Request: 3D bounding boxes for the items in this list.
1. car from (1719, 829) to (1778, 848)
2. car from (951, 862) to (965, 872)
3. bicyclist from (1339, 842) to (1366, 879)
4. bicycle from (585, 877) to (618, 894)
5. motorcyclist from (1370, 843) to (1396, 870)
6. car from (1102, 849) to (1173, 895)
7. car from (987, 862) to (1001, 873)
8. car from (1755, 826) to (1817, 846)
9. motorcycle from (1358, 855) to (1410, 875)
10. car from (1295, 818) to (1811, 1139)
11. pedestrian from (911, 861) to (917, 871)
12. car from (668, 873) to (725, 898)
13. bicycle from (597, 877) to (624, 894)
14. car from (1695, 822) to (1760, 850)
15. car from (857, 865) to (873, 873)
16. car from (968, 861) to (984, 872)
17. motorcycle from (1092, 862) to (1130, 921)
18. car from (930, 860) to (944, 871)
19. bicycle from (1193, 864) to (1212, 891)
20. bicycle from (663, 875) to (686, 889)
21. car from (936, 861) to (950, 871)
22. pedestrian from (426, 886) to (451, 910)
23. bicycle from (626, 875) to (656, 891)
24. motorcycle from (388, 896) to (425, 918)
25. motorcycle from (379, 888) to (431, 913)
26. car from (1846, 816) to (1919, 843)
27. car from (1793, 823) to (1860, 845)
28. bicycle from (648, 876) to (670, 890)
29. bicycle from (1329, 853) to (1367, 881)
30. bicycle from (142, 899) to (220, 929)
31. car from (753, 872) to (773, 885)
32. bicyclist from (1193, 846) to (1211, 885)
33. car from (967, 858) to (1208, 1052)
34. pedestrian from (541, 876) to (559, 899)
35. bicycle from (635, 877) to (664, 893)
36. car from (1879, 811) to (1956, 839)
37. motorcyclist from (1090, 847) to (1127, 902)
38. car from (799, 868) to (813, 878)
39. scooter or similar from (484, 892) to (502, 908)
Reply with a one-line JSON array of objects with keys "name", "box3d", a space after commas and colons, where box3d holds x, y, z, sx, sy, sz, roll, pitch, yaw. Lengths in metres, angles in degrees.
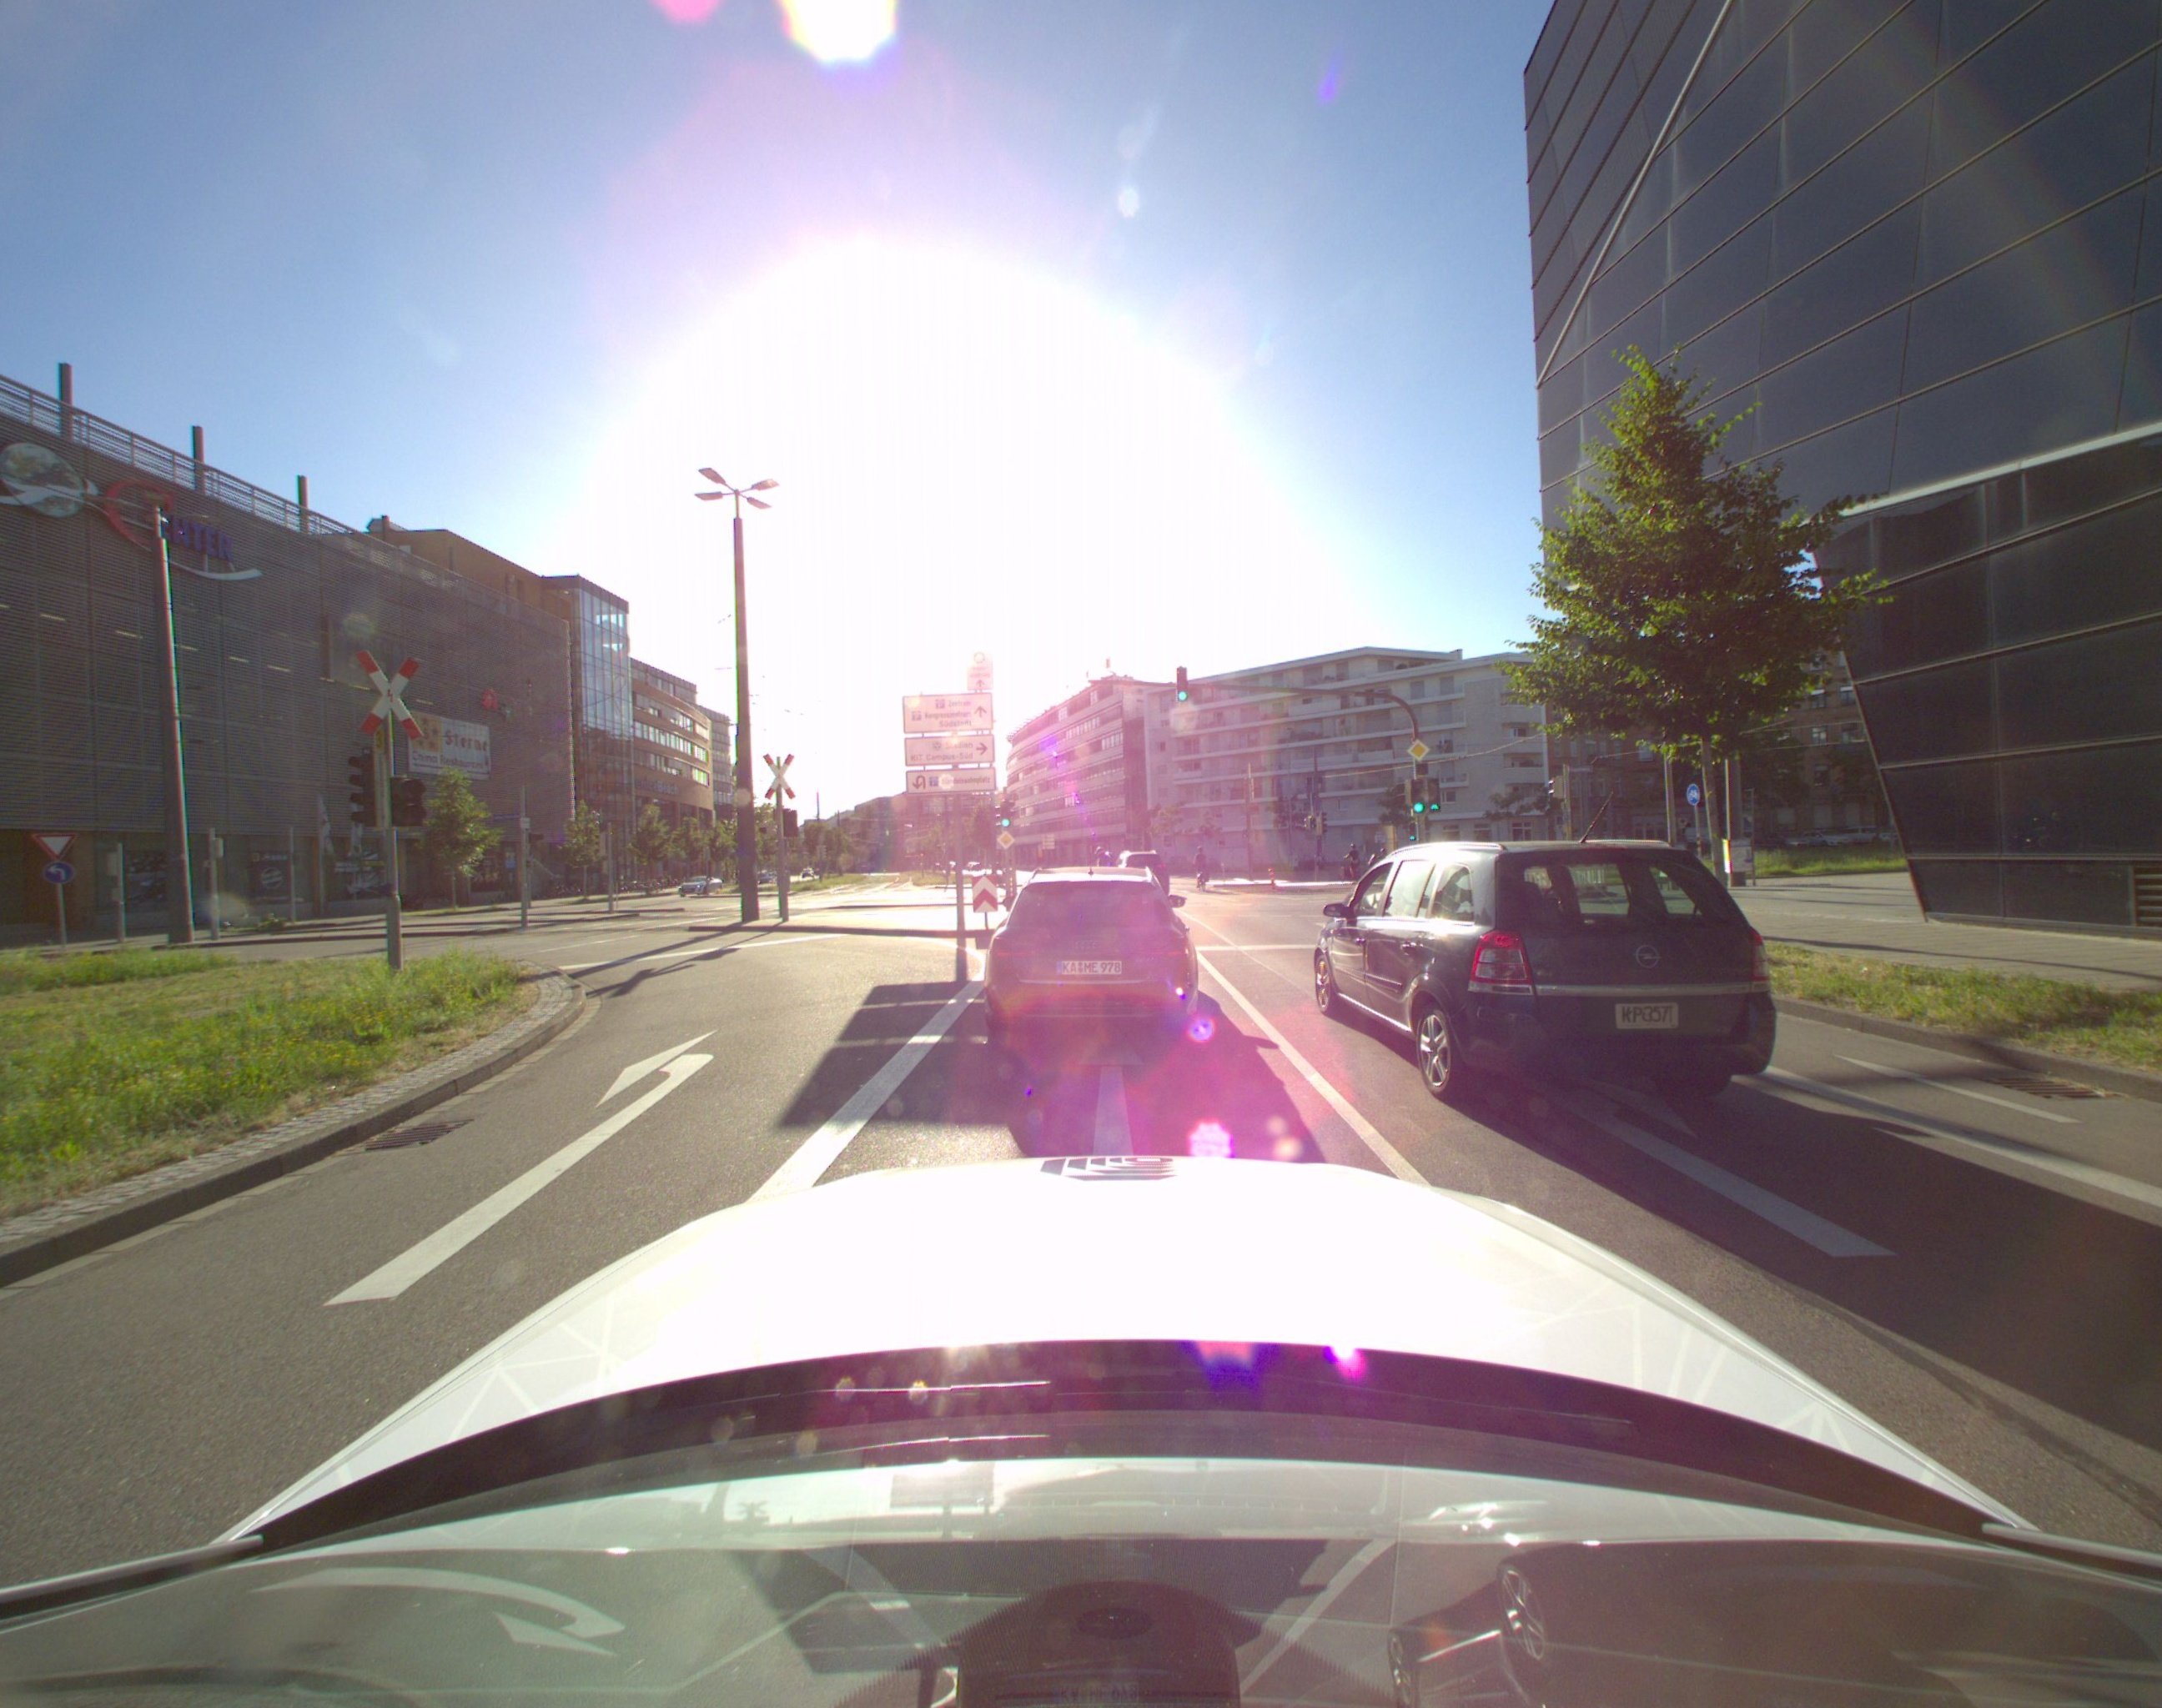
[{"name": "car", "box3d": [54.075, -1.236, 66.091, 1.981, 1.354, 4.012, -3, -1, 11]}, {"name": "car", "box3d": [-21.012, 2.181, 138.620, 1.996, 1.596, 3.981, -3, -1, -14]}, {"name": "bicyclist", "box3d": [12.689, 0.306, 38.070, 0.766, 1.706, 0.927, -2, -1, -11]}, {"name": "bicycle", "box3d": [-44.007, 2.860, 74.741, 2.355, 1.433, 1.079, -3, -1, 10]}, {"name": "motorcyclist", "box3d": [16.897, 0.137, 45.575, 0.924, 1.481, 1.169, -2, -1, -6]}, {"name": "car", "box3d": [2.216, 0.660, 32.987, 2.002, 1.715, 4.360, -1, 0, -8]}, {"name": "car", "box3d": [-15.871, 2.475, 148.040, 1.996, 1.838, 3.981, -3, -1, -14]}, {"name": "car", "box3d": [56.282, -1.398, 65.103, 1.981, 1.354, 4.012, -3, -1, 11]}, {"name": "motorcycle", "box3d": [16.963, 0.620, 45.573, 2.450, 1.000, 1.169, -2, -1, -7]}, {"name": "car", "box3d": [3.055, 0.672, 6.452, 1.739, 1.696, 4.262, 0, 0, 2]}, {"name": "pedestrian", "box3d": [-31.279, 2.243, 152.619, 0.904, 1.824, 0.825, -3, -2, -16]}, {"name": "car", "box3d": [-27.993, 2.279, 59.431, 1.987, 1.545, 4.529, -2, 0, 0]}, {"name": "bicycle", "box3d": [-43.806, 2.960, 75.809, 2.070, 1.433, 0.863, -3, -1, 10]}, {"name": "car", "box3d": [58.786, -1.586, 74.147, 4.543, 2.310, 2.013, -3, -1, 38]}, {"name": "car", "box3d": [-49.591, 3.364, 186.943, 1.982, 1.640, 4.422, -2, -1, 8]}, {"name": "car", "box3d": [-17.579, 2.115, 136.115, 1.999, 1.596, 3.976, -3, -1, -17]}, {"name": "motorcycle", "box3d": [0.736, 0.911, 20.514, 0.859, 1.393, 1.894, -2, -1, 1]}, {"name": "car", "box3d": [-25.433, 2.035, 143.660, 1.998, 1.706, 3.977, -3, -1, -17]}, {"name": "bicycle", "box3d": [5.259, 1.007, 35.421, 0.651, 1.043, 1.932, -2, 0, 5]}, {"name": "bicycle", "box3d": [-47.425, 3.278, 95.049, 2.405, 1.433, 0.791, -3, -1, 10]}, {"name": "car", "box3d": [-24.376, 2.122, 144.030, 1.998, 1.706, 3.977, -3, -1, -17]}, {"name": "pedestrian", "box3d": [-44.591, 3.064, 56.531, 0.984, 1.566, 0.829, -3, -2, 1]}, {"name": "bicycle", "box3d": [-43.603, 2.872, 80.703, 2.546, 1.433, 0.907, -3, -1, 10]}, {"name": "motorcycle", "box3d": [-41.885, 3.308, 50.576, 0.673, 1.238, 1.893, -3, -1, 1]}, {"name": "motorcycle", "box3d": [-43.365, 2.981, 52.301, 0.962, 1.446, 2.619, -2, 0, 5]}, {"name": "car", "box3d": [61.004, -1.823, 62.099, 1.981, 1.772, 4.012, -3, -1, 11]}, {"name": "car", "box3d": [58.395, -1.549, 63.901, 1.981, 1.486, 4.012, -3, -1, 11]}, {"name": "bicycle", "box3d": [-47.551, 3.234, 91.752, 2.231, 1.433, 0.720, -3, -1, 10]}, {"name": "bicycle", "box3d": [12.616, 0.623, 38.493, 0.766, 1.262, 2.074, -2, -1, -11]}, {"name": "bicycle", "box3d": [-41.932, 2.788, 37.996, 0.796, 1.220, 2.418, -2, 0, 5]}, {"name": "car", "box3d": [-39.470, 3.037, 101.031, 1.904, 1.407, 3.965, -3, 0, -27]}, {"name": "bicyclist", "box3d": [5.245, 0.481, 35.424, 0.651, 1.642, 0.973, -2, 0, 5]}, {"name": "car", "box3d": [0.095, 0.784, 8.246, 1.835, 1.454, 4.001, -1, 0, 1]}, {"name": "pedestrian", "box3d": [-42.786, 2.704, 65.627, 0.823, 1.824, 0.905, -3, -2, 3]}, {"name": "bicycle", "box3d": [-43.932, 3.155, 82.956, 2.546, 1.433, 0.907, -3, -1, 10]}, {"name": "car", "box3d": [63.496, -2.168, 61.912, 1.982, 1.772, 4.009, -3, -1, 8]}, {"name": "motorcyclist", "box3d": [0.674, 0.501, 20.408, 0.860, 1.326, 0.681, -2, -1, 0]}, {"name": "car", "box3d": [-49.060, 3.348, 145.450, 1.997, 1.640, 4.388, -2, -1, -15]}, {"name": "scooter or similar", "box3d": [-43.005, 3.391, 59.548, 0.419, 1.110, 1.152, -3, -2, 2]}]
